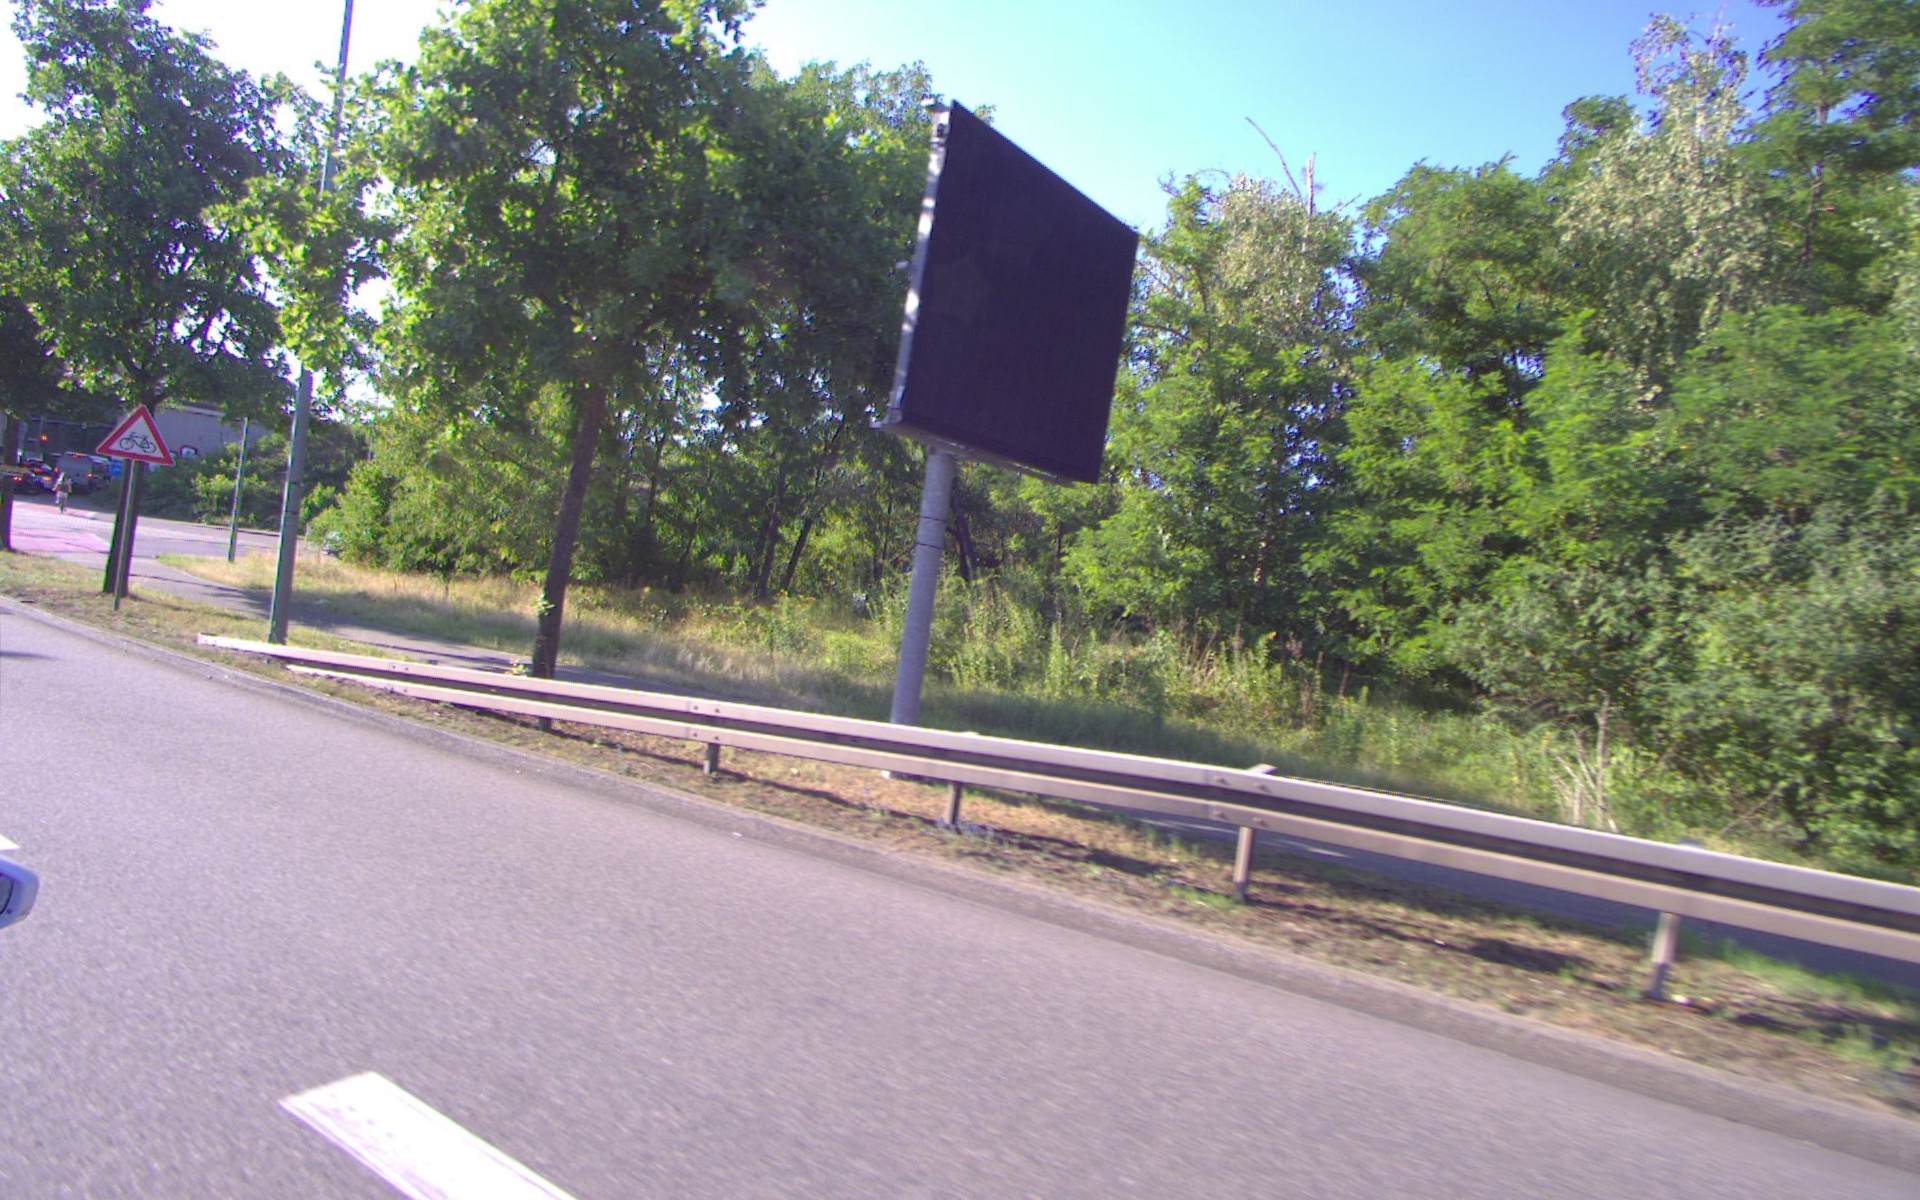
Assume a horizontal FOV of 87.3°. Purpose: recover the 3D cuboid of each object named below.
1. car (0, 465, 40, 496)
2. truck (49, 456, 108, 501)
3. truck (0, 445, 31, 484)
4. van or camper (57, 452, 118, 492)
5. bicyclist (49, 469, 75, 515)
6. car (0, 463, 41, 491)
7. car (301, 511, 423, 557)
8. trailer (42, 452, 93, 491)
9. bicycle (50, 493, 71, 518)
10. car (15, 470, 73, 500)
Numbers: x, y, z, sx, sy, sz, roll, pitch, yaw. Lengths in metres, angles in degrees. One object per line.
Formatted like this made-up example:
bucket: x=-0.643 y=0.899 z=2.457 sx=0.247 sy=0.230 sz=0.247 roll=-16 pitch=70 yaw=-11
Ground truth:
car: x=-54.803 y=-6.890 z=57.872 sx=1.729 sy=1.472 sz=4.565 roll=9 pitch=1 yaw=-31
truck: x=-62.357 y=-8.566 z=71.229 sx=2.096 sy=2.550 sz=4.367 roll=8 pitch=-1 yaw=-30
truck: x=-70.848 y=-10.120 z=74.040 sx=2.012 sy=2.587 sz=5.496 roll=8 pitch=0 yaw=-28
van or camper: x=-71.473 y=-10.433 z=82.513 sx=1.976 sy=2.601 sz=5.881 roll=8 pitch=0 yaw=-25
bicyclist: x=-40.191 y=-4.824 z=45.031 sx=0.679 sy=1.930 sz=0.823 roll=8 pitch=1 yaw=-41
car: x=-66.600 y=-8.662 z=70.987 sx=1.570 sy=1.550 sz=3.803 roll=9 pitch=-1 yaw=-29
car: x=-25.701 y=-2.814 z=43.367 sx=1.966 sy=1.528 sz=3.990 roll=7 pitch=2 yaw=29
trailer: x=-68.785 y=-9.882 z=77.613 sx=1.848 sy=2.496 sz=3.805 roll=7 pitch=1 yaw=-27
bicycle: x=-40.202 y=-4.240 z=44.966 sx=0.577 sy=0.975 sz=2.852 roll=8 pitch=0 yaw=-41
car: x=-58.448 y=-7.325 z=64.258 sx=1.758 sy=1.514 sz=3.802 roll=7 pitch=0 yaw=-29
